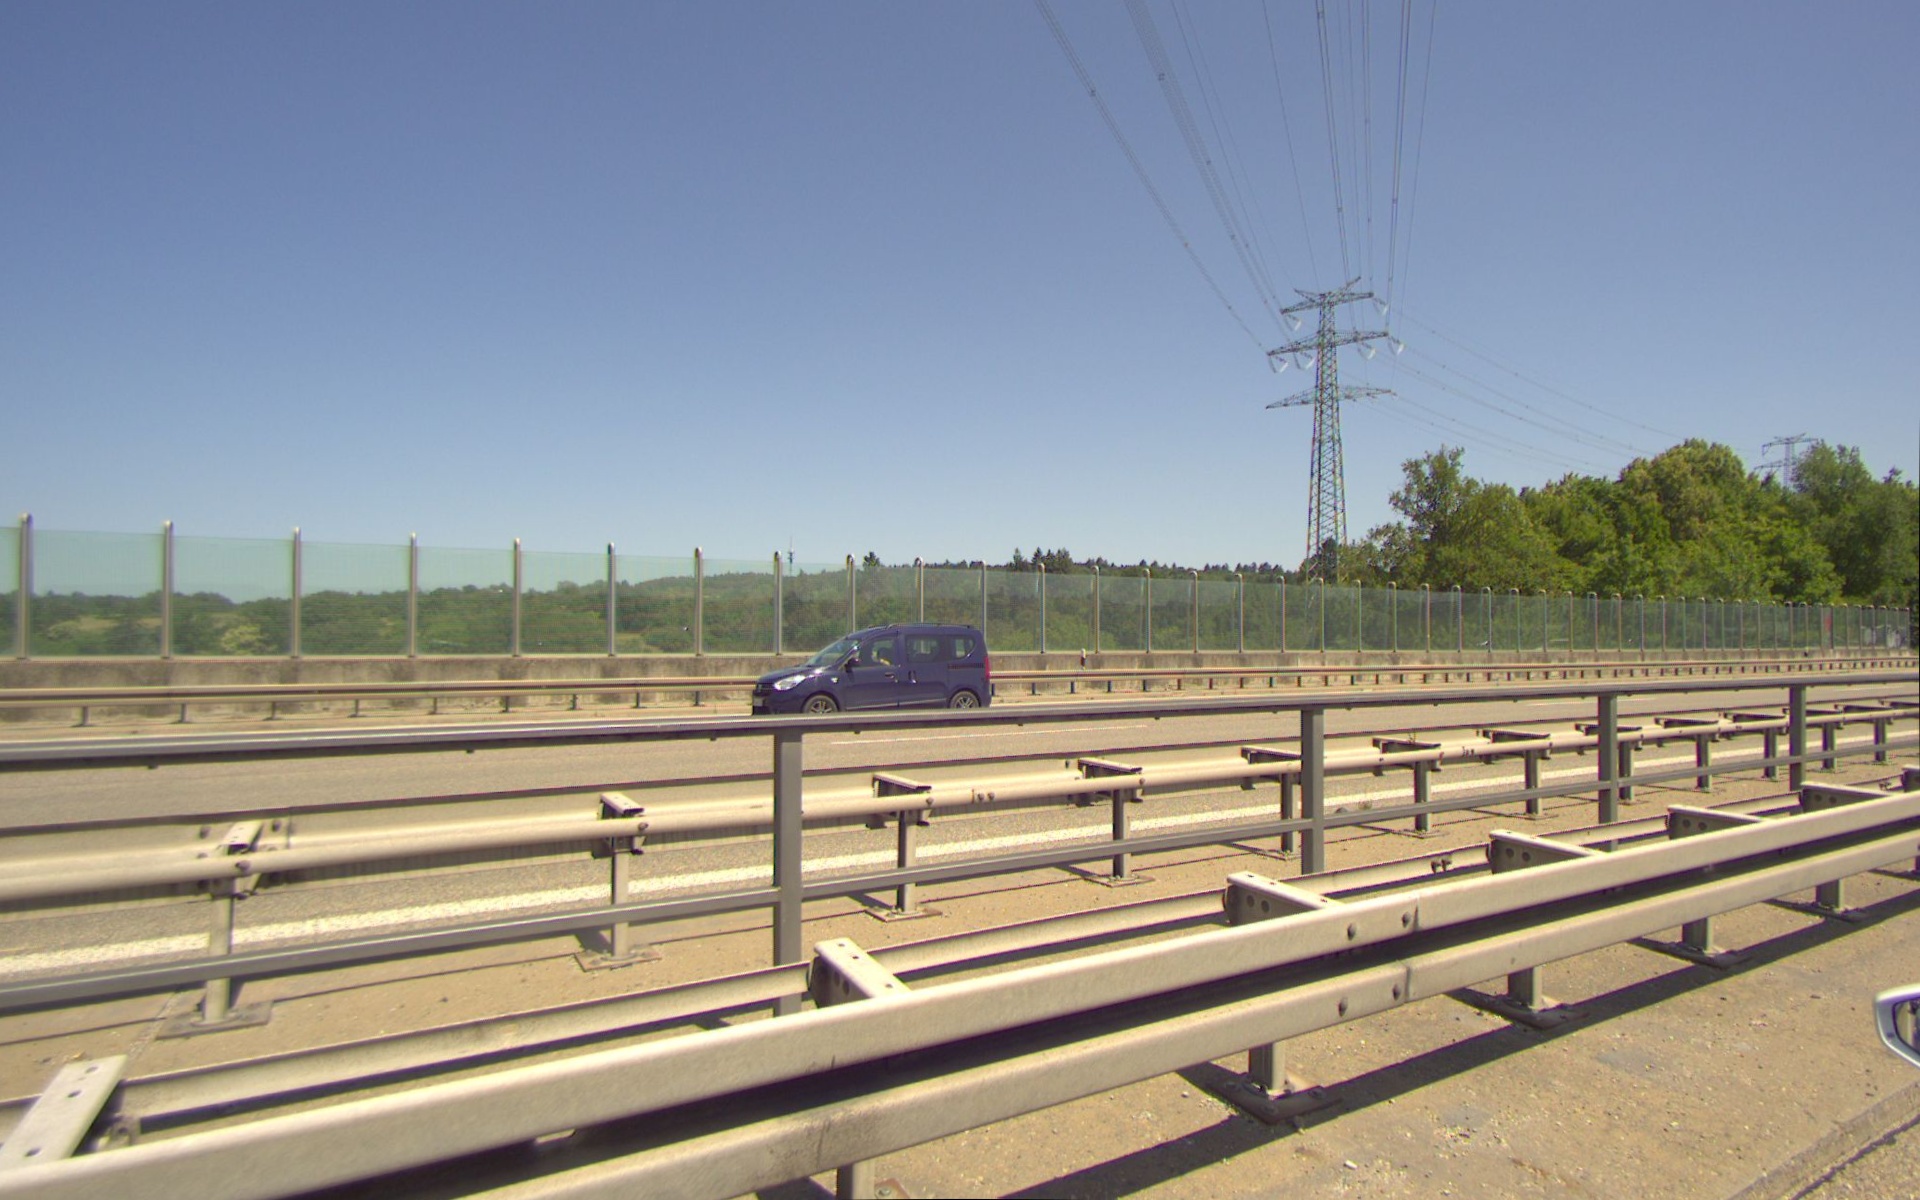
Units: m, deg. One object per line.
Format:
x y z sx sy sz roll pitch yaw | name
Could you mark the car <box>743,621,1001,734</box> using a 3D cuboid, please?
-1.539 1.331 17.972 4.252 1.808 1.774 1 -4 -31 | car
